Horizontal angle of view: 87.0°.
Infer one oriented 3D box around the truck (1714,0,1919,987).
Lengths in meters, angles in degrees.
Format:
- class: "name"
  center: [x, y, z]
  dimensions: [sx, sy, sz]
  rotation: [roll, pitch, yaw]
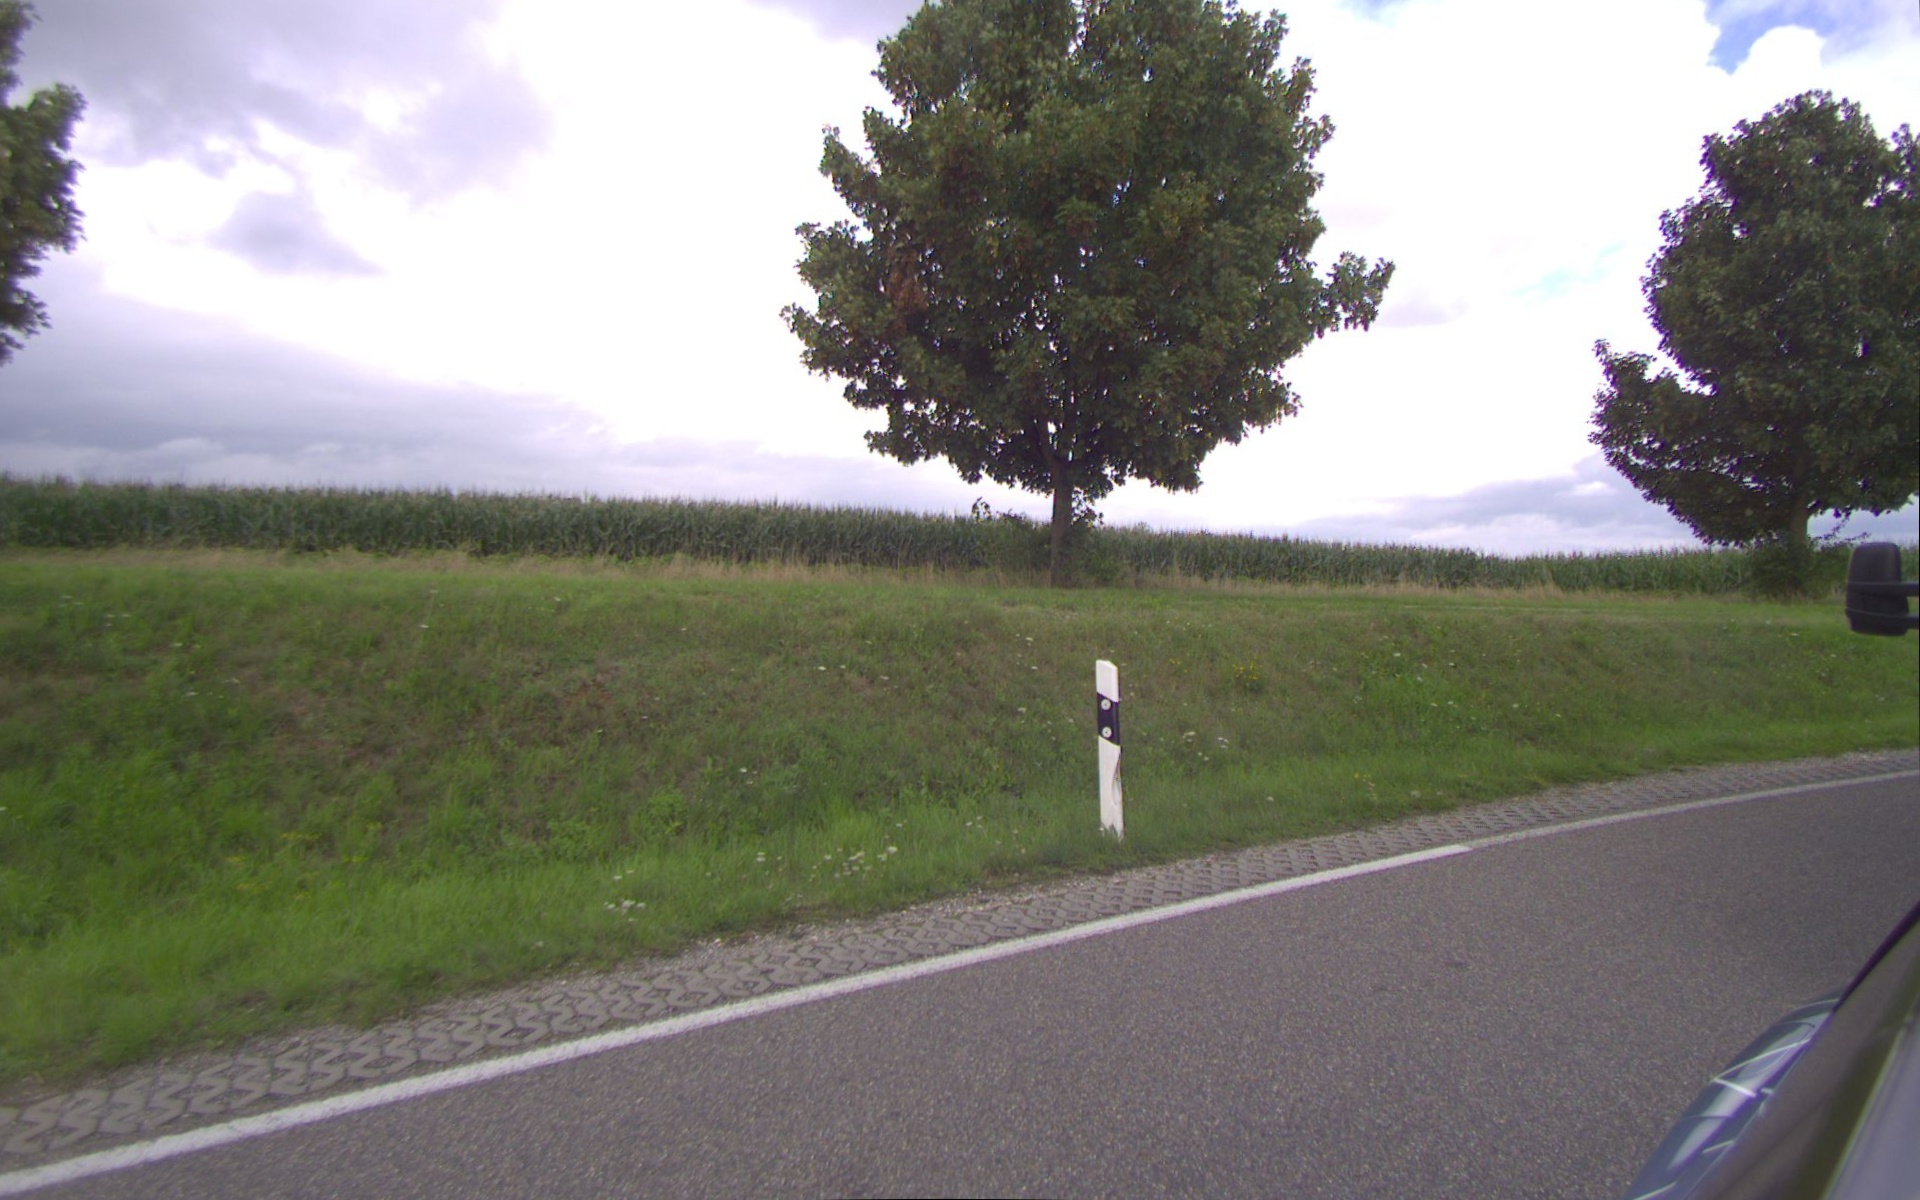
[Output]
- class: "truck"
  center: [7.193, -0.628, 4.578]
  dimensions: [8.623, 3.810, 2.843]
  rotation: [1, 1, -30]
